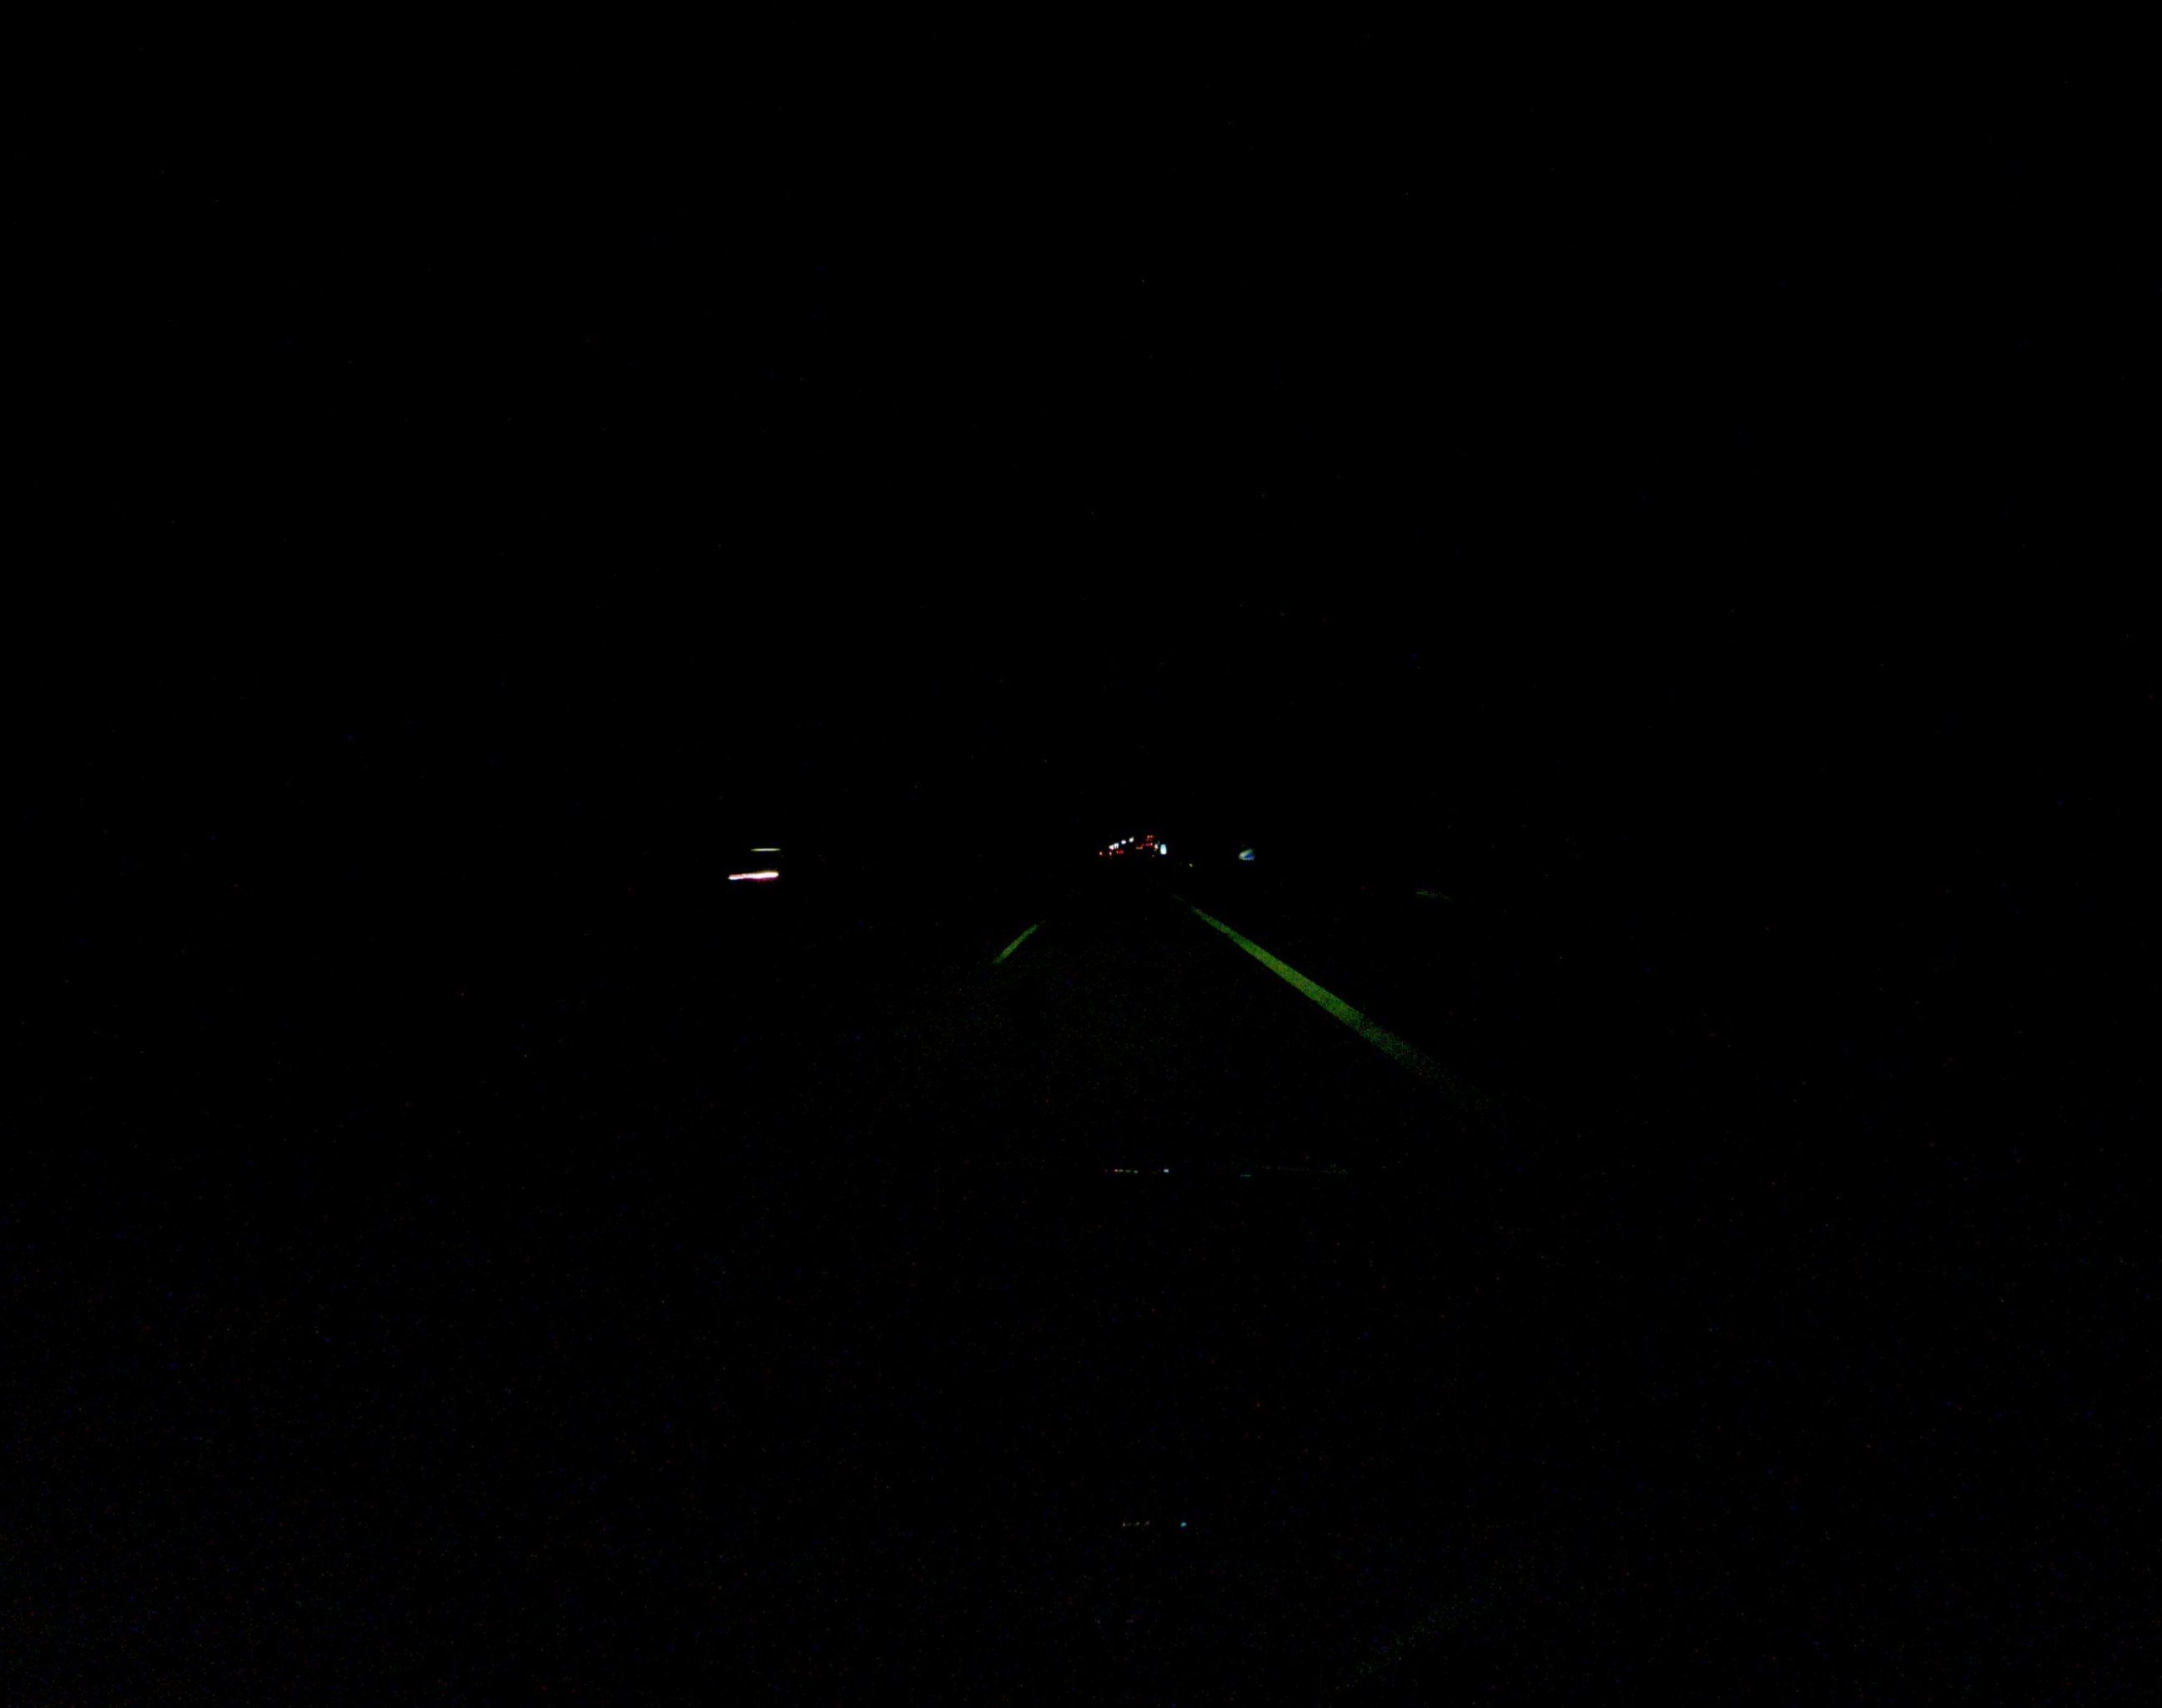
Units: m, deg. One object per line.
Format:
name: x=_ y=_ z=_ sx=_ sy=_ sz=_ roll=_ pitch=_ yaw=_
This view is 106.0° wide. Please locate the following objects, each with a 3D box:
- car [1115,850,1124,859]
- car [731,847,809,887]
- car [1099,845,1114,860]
car: x=12.312 y=0.057 z=262.187 sx=2.775 sy=2.733 sz=6.303 roll=-1 pitch=0 yaw=2
car: x=-20.311 y=0.855 z=53.614 sx=2.382 sy=2.452 sz=6.674 roll=0 pitch=-1 yaw=2
car: x=4.854 y=-0.253 z=155.495 sx=2.775 sy=2.733 sz=6.303 roll=-1 pitch=0 yaw=3
